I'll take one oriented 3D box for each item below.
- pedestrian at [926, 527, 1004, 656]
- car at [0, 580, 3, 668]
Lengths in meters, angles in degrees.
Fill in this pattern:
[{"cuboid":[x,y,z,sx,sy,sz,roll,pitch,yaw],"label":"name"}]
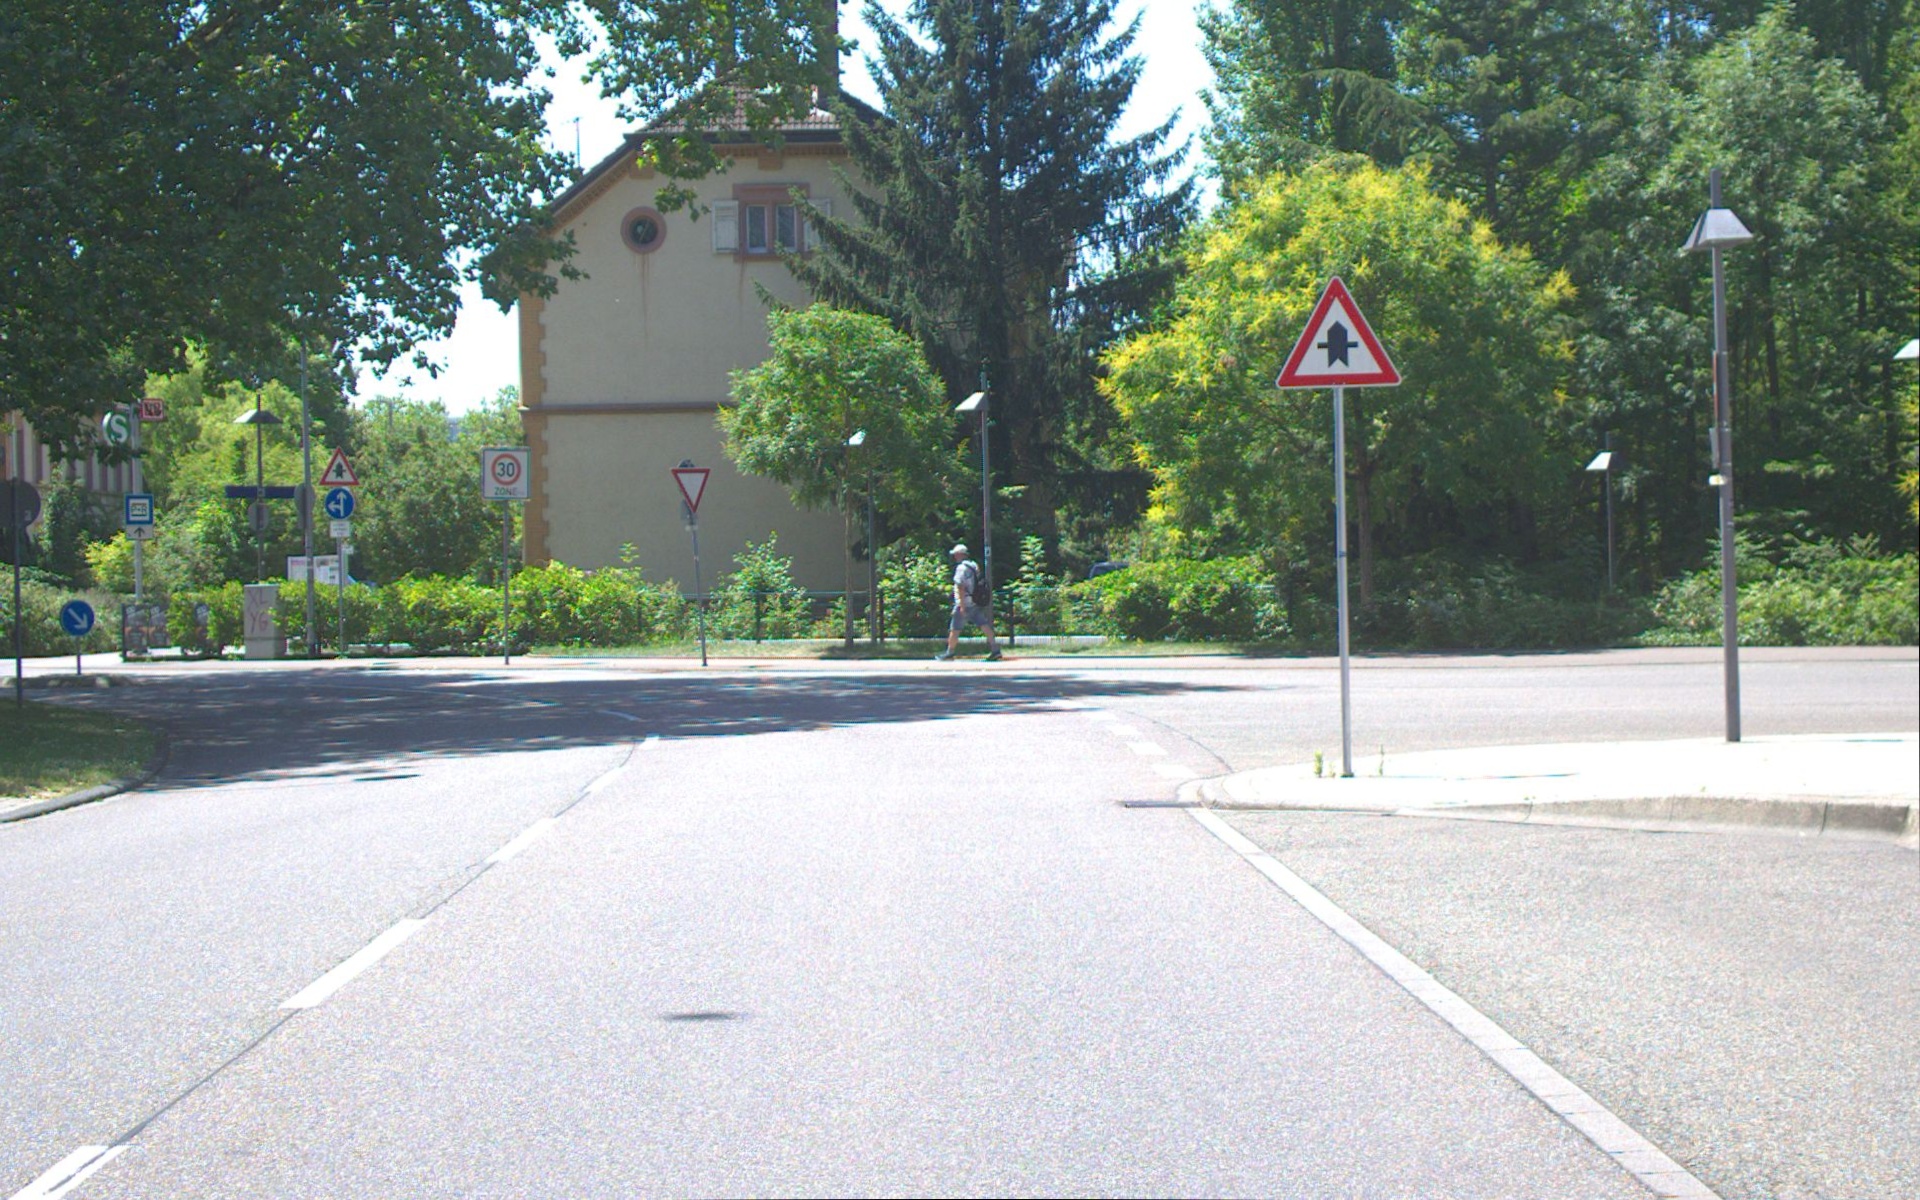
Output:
[{"cuboid":[0.074,-0.133,52.994,0.804,1.959,0.856,-1,0,-41],"label":"pedestrian"},{"cuboid":[-20.135,0.478,64.241,4.774,1.621,1.984,-1,1,40],"label":"car"}]
